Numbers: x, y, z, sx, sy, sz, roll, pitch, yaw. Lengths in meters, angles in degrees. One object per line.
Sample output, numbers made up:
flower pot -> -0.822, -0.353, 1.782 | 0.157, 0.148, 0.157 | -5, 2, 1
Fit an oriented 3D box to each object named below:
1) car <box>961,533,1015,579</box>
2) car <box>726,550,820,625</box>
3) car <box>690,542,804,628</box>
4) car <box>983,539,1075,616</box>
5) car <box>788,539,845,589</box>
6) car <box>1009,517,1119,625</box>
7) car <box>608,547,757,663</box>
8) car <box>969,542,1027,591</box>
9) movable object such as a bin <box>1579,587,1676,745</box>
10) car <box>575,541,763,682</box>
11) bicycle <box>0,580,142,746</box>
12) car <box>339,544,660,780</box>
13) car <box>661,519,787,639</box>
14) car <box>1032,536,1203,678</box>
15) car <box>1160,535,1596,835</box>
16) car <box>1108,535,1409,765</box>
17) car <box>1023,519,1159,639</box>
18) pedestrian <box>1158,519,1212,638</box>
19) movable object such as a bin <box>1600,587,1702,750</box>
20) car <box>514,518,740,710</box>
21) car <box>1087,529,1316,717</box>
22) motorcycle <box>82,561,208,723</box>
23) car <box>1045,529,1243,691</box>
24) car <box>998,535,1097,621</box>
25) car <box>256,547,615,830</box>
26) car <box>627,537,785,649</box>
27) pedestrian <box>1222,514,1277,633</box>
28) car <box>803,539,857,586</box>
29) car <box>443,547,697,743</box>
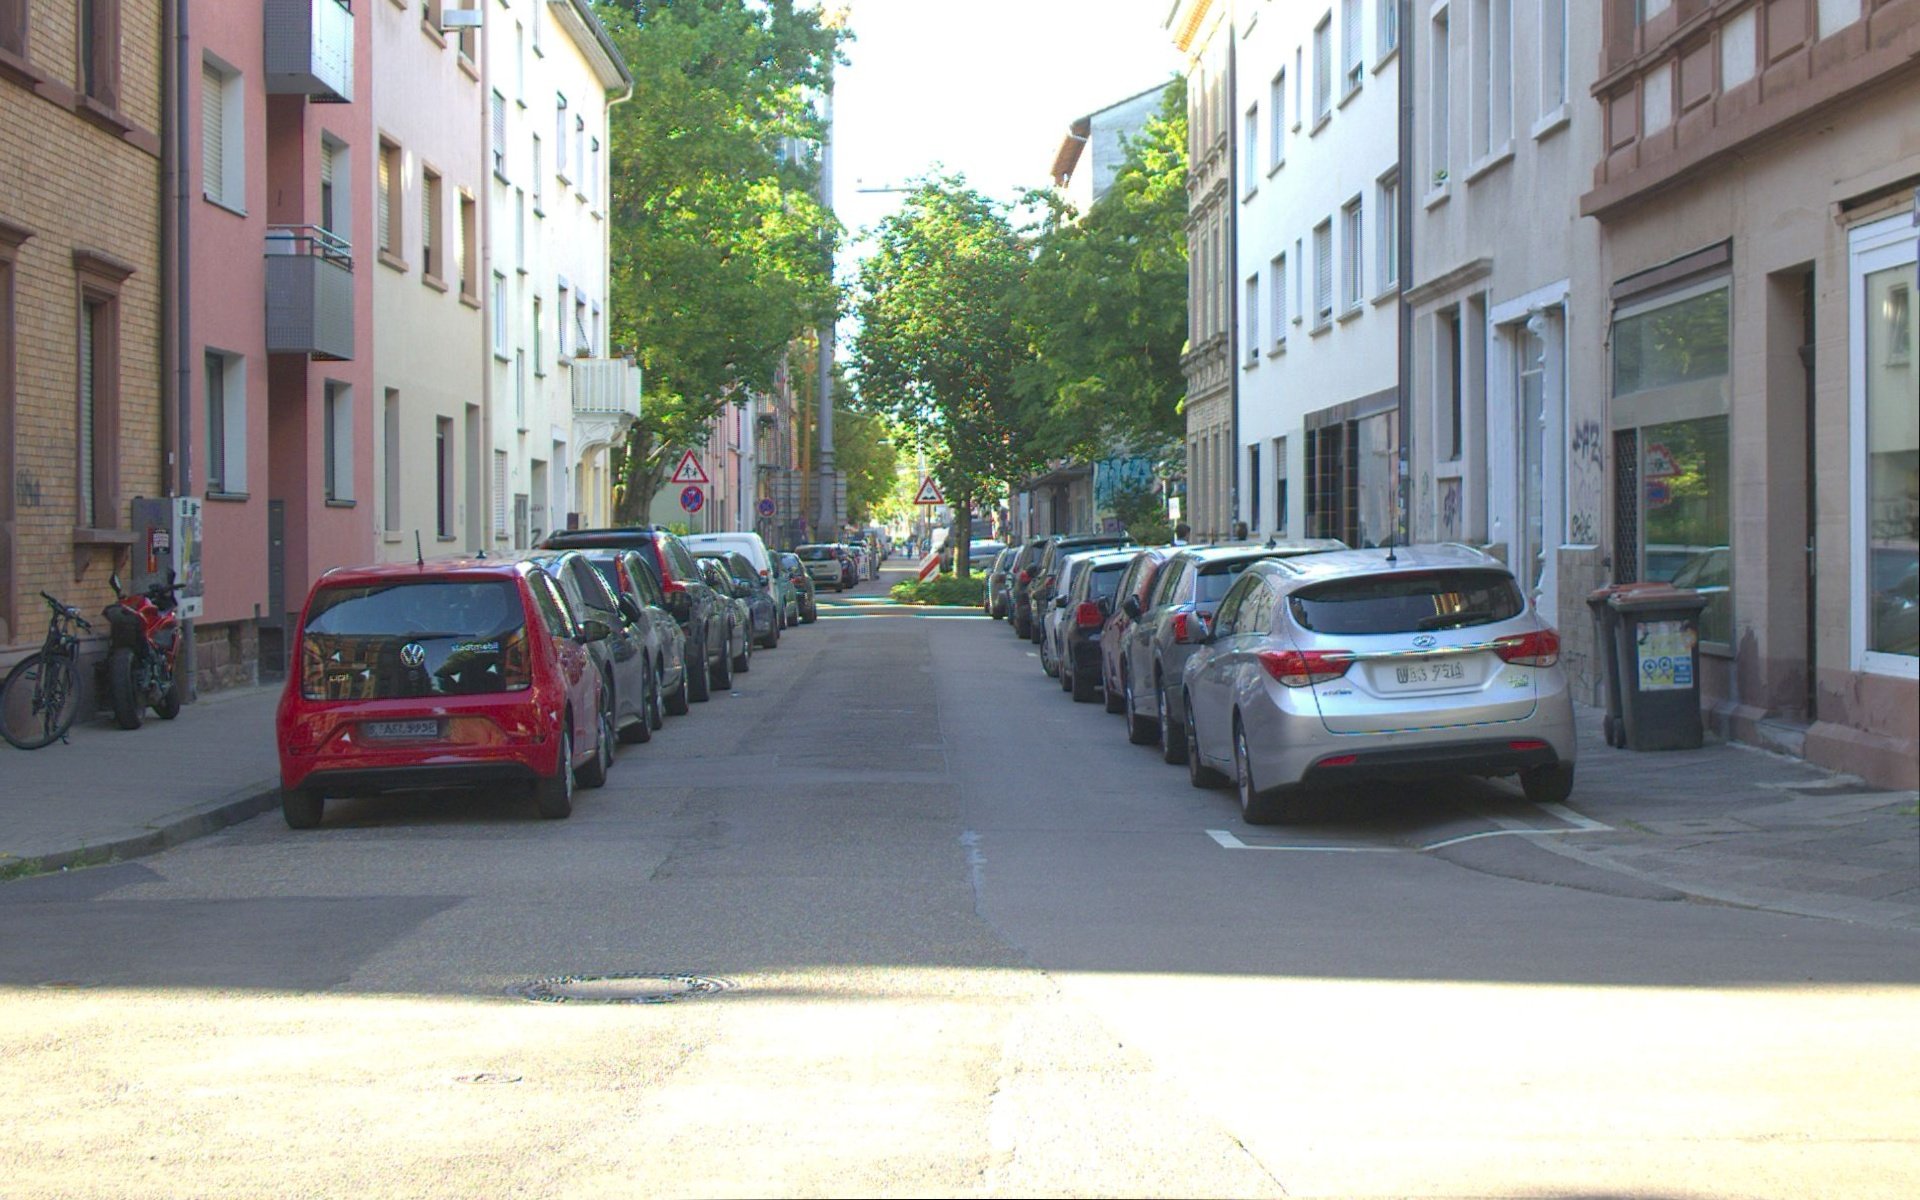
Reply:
car -> 0.949, -1.519, 116.779 | 1.675, 1.482, 3.638 | -2, 1, -1
car -> -3.662, -0.265, 67.883 | 1.670, 1.356, 4.049 | -2, 1, -1
car -> -3.919, -0.294, 63.680 | 1.670, 1.464, 3.820 | -2, 1, 2
car -> 1.406, -0.485, 71.367 | 1.675, 1.482, 4.095 | -2, 1, -1
car -> -4.524, -1.170, 108.878 | 1.675, 1.482, 4.095 | -2, 1, -1
car -> 1.694, -0.476, 57.039 | 1.676, 1.676, 4.094 | -2, 0, 0
car -> -3.657, 0.031, 45.880 | 1.673, 1.383, 4.182 | -2, 1, -1
car -> 1.201, -1.077, 110.351 | 1.675, 1.482, 3.638 | -2, 1, -1
movable object such as a bin -> 4.533, 0.443, 23.365 | 0.514, 1.036, 0.594 | -2, 1, 0
car -> -3.396, 0.097, 40.850 | 1.743, 1.501, 4.346 | -2, 1, 1
bicycle -> -6.303, 0.424, 24.293 | 0.533, 1.070, 1.891 | 4, 1, 0
car -> -3.296, 0.385, 25.324 | 1.695, 1.516, 4.096 | -2, 1, 1
car -> -3.723, -0.367, 54.799 | 1.765, 1.779, 4.039 | -2, 1, -1
car -> 1.786, 0.039, 40.083 | 1.675, 1.501, 3.938 | -2, 1, -1
car -> 2.316, 0.404, 20.167 | 1.743, 1.501, 4.358 | -2, 1, -3
car -> 2.127, 0.306, 25.488 | 1.744, 1.501, 4.021 | -2, 1, -1
car -> 1.932, -0.335, 51.836 | 1.676, 1.621, 4.251 | -4, 1, -1
pedestrian -> 3.179, -0.311, 48.715 | 0.685, 1.654, 0.717 | -1, 1, -1
movable object such as a bin -> 4.540, 0.444, 22.611 | 0.514, 1.036, 0.619 | -2, 1, 0
car -> -3.376, 0.084, 35.640 | 1.743, 1.805, 4.672 | -2, 1, 1
car -> 2.082, 0.151, 30.586 | 1.598, 1.501, 4.185 | -2, 1, -1
motorcycle -> -6.314, 0.305, 26.711 | 0.533, 1.201, 1.909 | 0, 1, 0
car -> 1.831, 0.055, 35.231 | 1.675, 1.501, 3.938 | -2, 1, -1
car -> 1.669, -0.450, 66.464 | 1.675, 1.556, 3.796 | -2, 1, -1
car -> -3.053, 0.456, 20.624 | 1.628, 1.476, 3.601 | -2, 1, -1
car -> -3.668, -0.134, 50.271 | 1.674, 1.481, 3.991 | -2, 1, 5
pedestrian -> 4.085, -0.377, 48.584 | 0.685, 1.654, 0.717 | -1, 1, -1
car -> -4.302, -1.254, 114.132 | 1.675, 1.482, 4.095 | -2, 1, -1
car -> -3.349, 0.339, 30.146 | 1.656, 1.516, 3.944 | -2, 1, 1
